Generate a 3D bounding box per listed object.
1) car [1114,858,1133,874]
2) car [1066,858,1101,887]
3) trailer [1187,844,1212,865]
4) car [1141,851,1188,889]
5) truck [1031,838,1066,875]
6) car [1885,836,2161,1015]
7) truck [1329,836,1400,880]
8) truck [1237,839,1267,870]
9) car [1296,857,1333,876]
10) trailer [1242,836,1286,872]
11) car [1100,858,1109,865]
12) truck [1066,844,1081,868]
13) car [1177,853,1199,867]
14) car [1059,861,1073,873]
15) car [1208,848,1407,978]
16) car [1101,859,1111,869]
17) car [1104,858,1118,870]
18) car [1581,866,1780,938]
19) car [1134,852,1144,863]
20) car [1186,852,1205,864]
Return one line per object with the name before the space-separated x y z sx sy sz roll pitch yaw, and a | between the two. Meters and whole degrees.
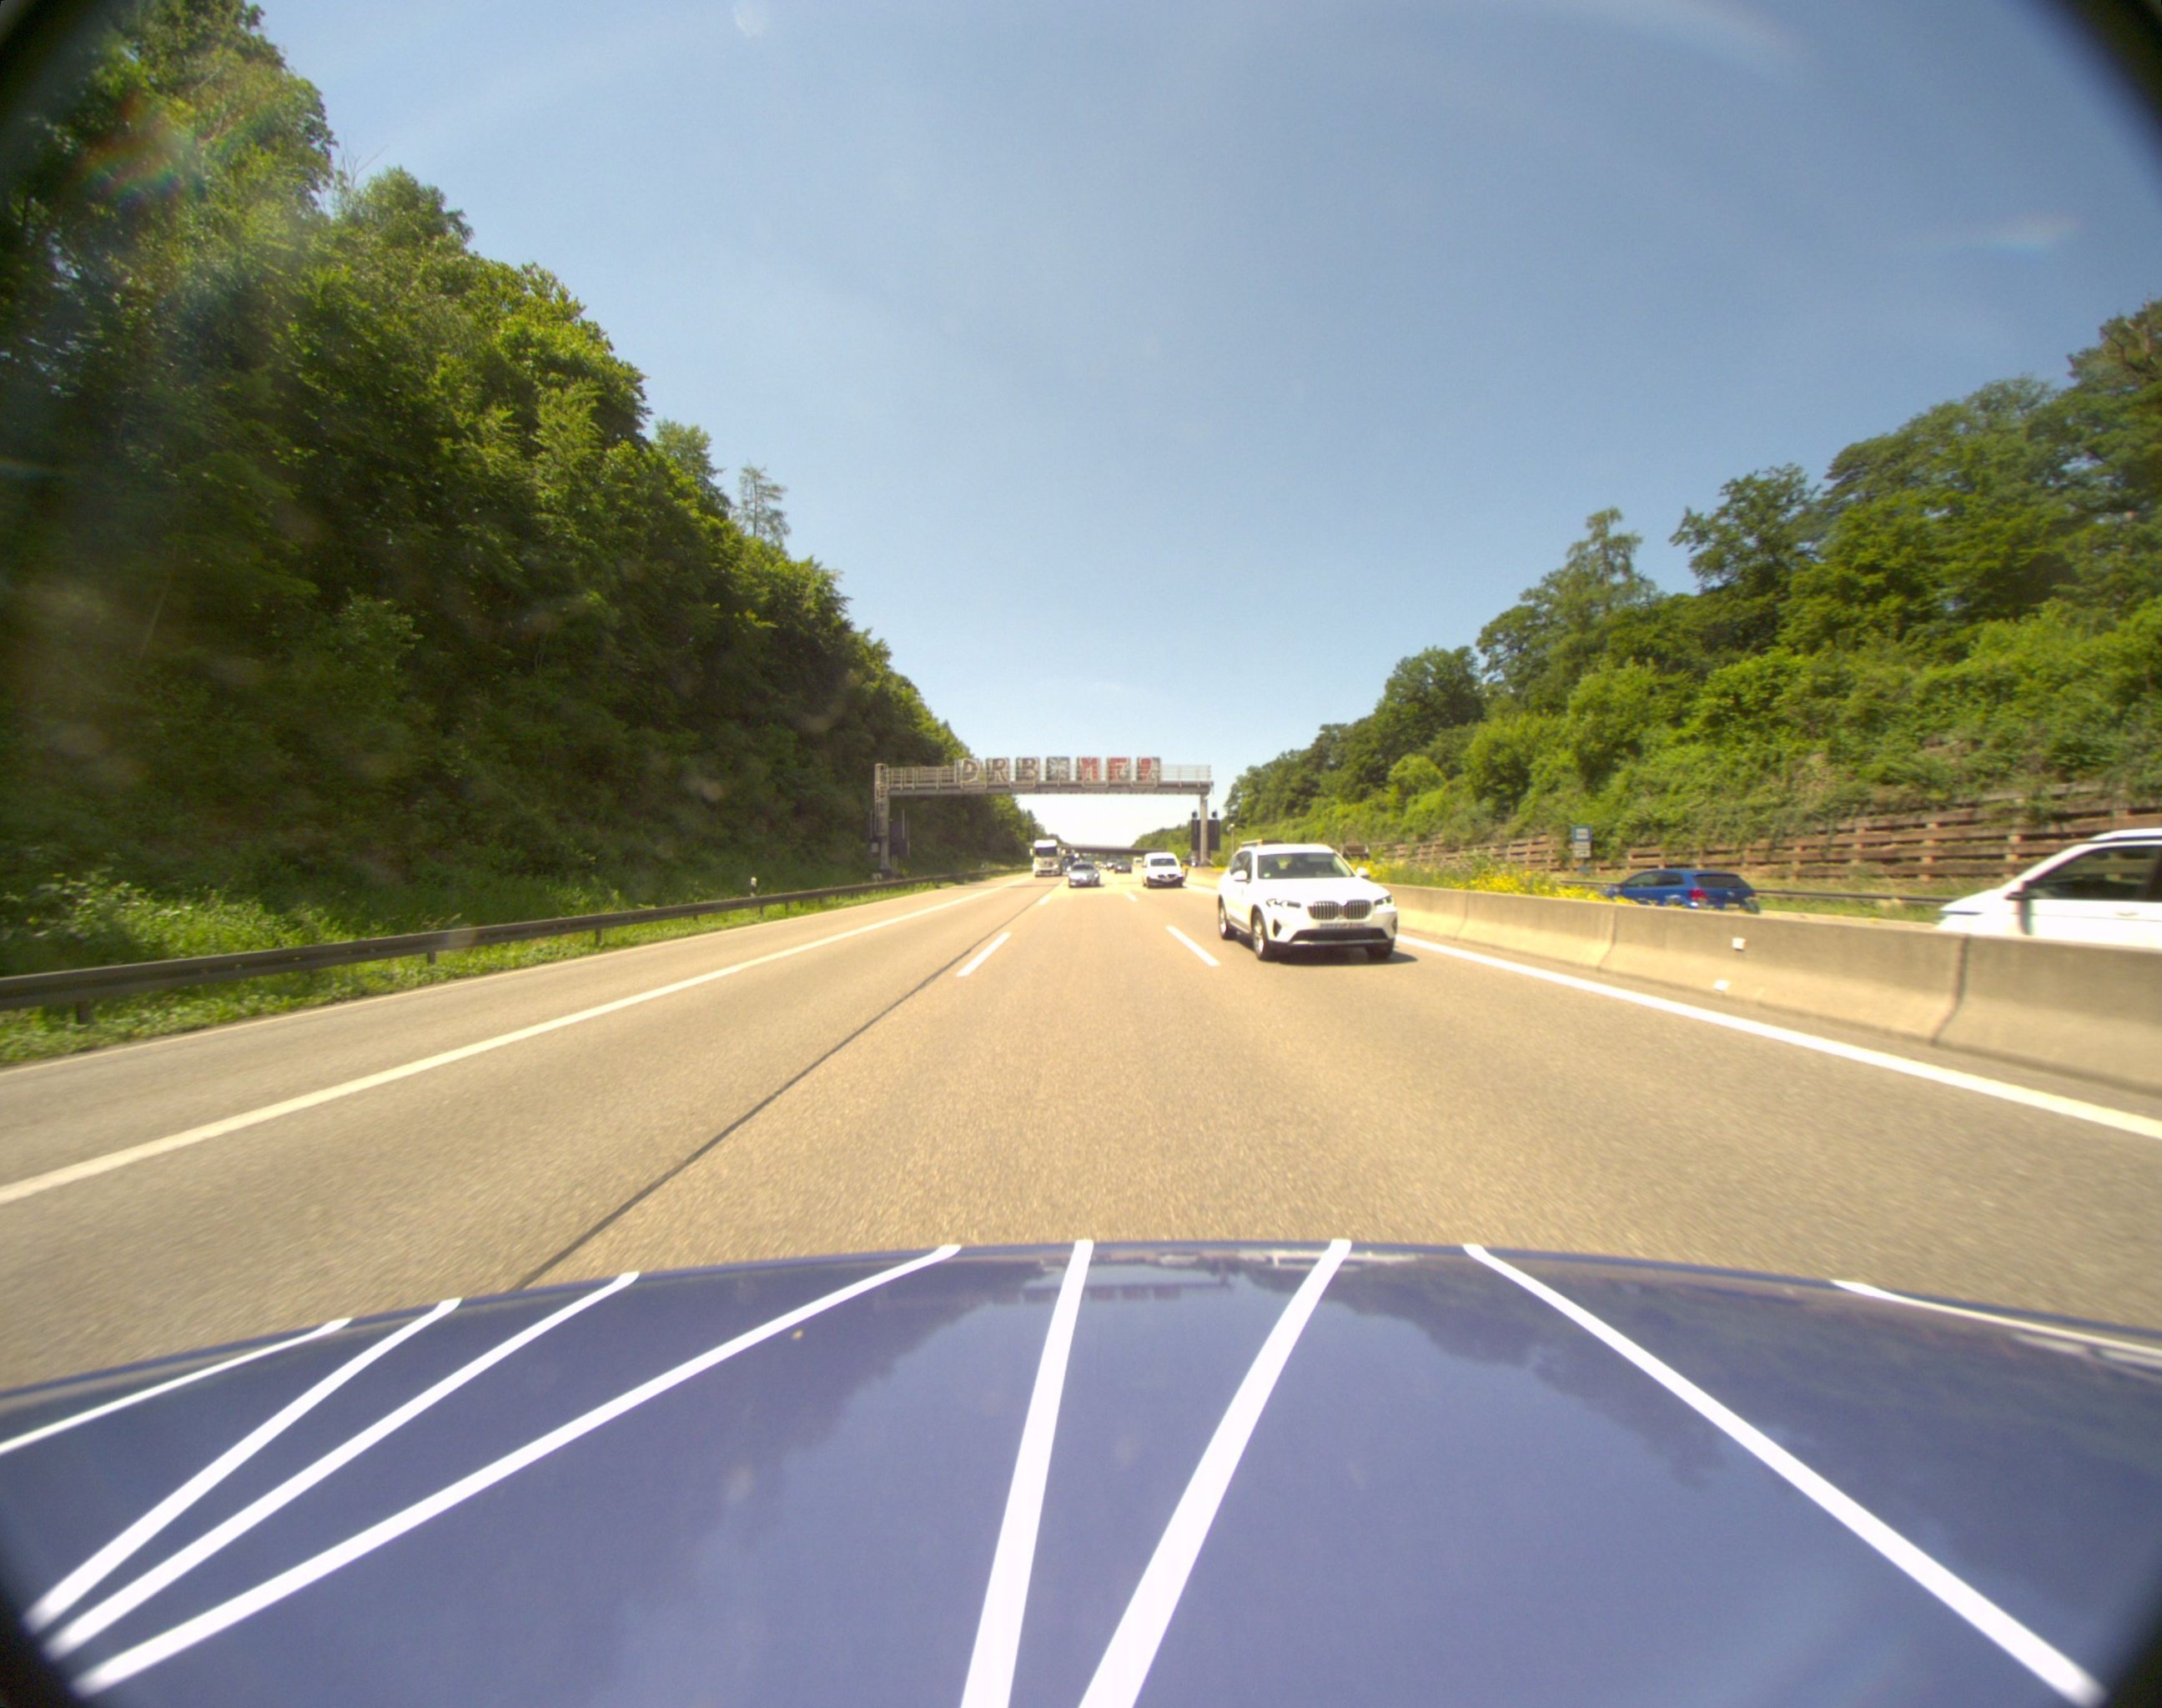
car | 4.525 1.273 81.826 1.770 1.504 4.725 -3 0 0
car | 0.218 1.054 44.339 1.843 1.518 4.502 -3 0 2
trailer | 24.188 0.149 155.450 2.985 4.077 13.994 1 0 1
car | 4.290 0.797 39.592 1.998 1.764 4.502 -3 0 2
truck | -3.254 0.260 80.091 2.844 3.518 13.087 -3 0 0
car | 11.144 0.666 6.578 2.002 1.677 5.995 0 0 0
truck | 20.523 0.299 55.499 2.586 2.975 7.062 0 0 0
truck | 23.949 0.033 106.653 2.957 4.177 6.459 1 0 3
car | 20.082 1.069 65.513 1.804 1.594 4.371 0 0 0
trailer | 23.465 0.014 98.548 2.985 4.182 14.469 1 0 3
car | 5.460 1.617 176.048 1.770 1.504 4.000 -3 0 0
truck | -1.446 0.397 153.274 2.627 4.364 13.087 -3 0 0
car | 12.661 0.764 90.050 2.008 1.595 4.713 0 0 0
car | -2.118 1.864 106.939 1.770 1.504 4.000 -3 0 0
car | 3.331 0.788 12.124 1.850 1.634 4.368 -2 0 0
car | 4.737 1.856 143.975 1.924 1.849 4.001 -3 0 2
car | 4.260 1.375 107.153 1.770 1.504 4.000 -3 0 0
car | 14.841 1.111 19.156 1.712 1.595 4.199 0 0 0
car | 13.551 0.773 178.855 2.003 2.658 4.846 0 0 0
car | 16.107 0.562 107.002 2.008 1.595 4.863 0 0 0
